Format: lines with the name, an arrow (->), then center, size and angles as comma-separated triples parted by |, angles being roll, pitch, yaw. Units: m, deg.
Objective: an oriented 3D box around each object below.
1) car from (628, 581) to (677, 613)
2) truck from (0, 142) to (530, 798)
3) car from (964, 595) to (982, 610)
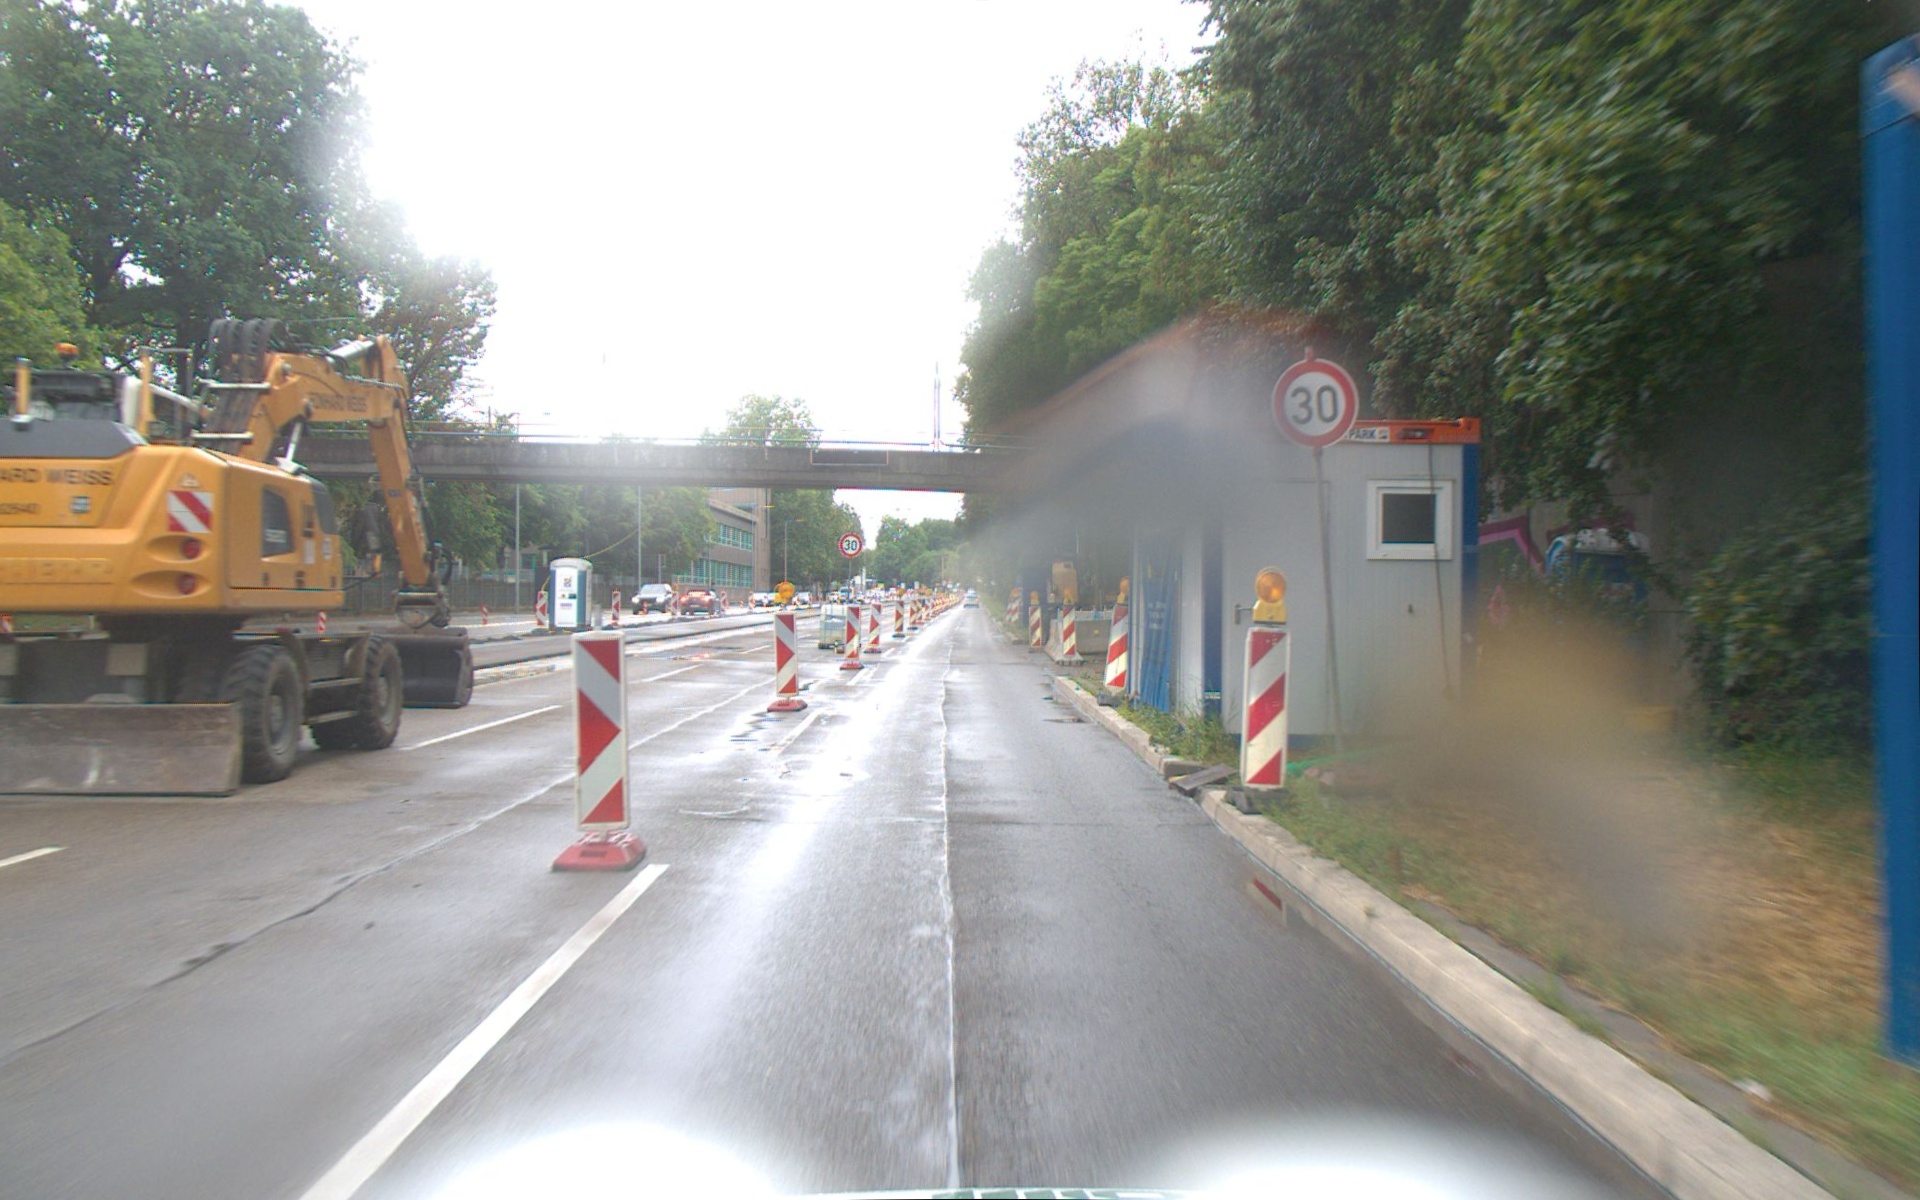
car -> -18.106, -0.164, 97.463 | 1.930, 1.837, 4.608 | 0, 0, 1
truck -> -6.686, -0.887, 16.331 | 2.841, 4.333, 10.745 | 1, 0, -5
car -> 1.435, 0.279, 184.706 | 1.953, 1.668, 4.000 | 0, 0, 0
